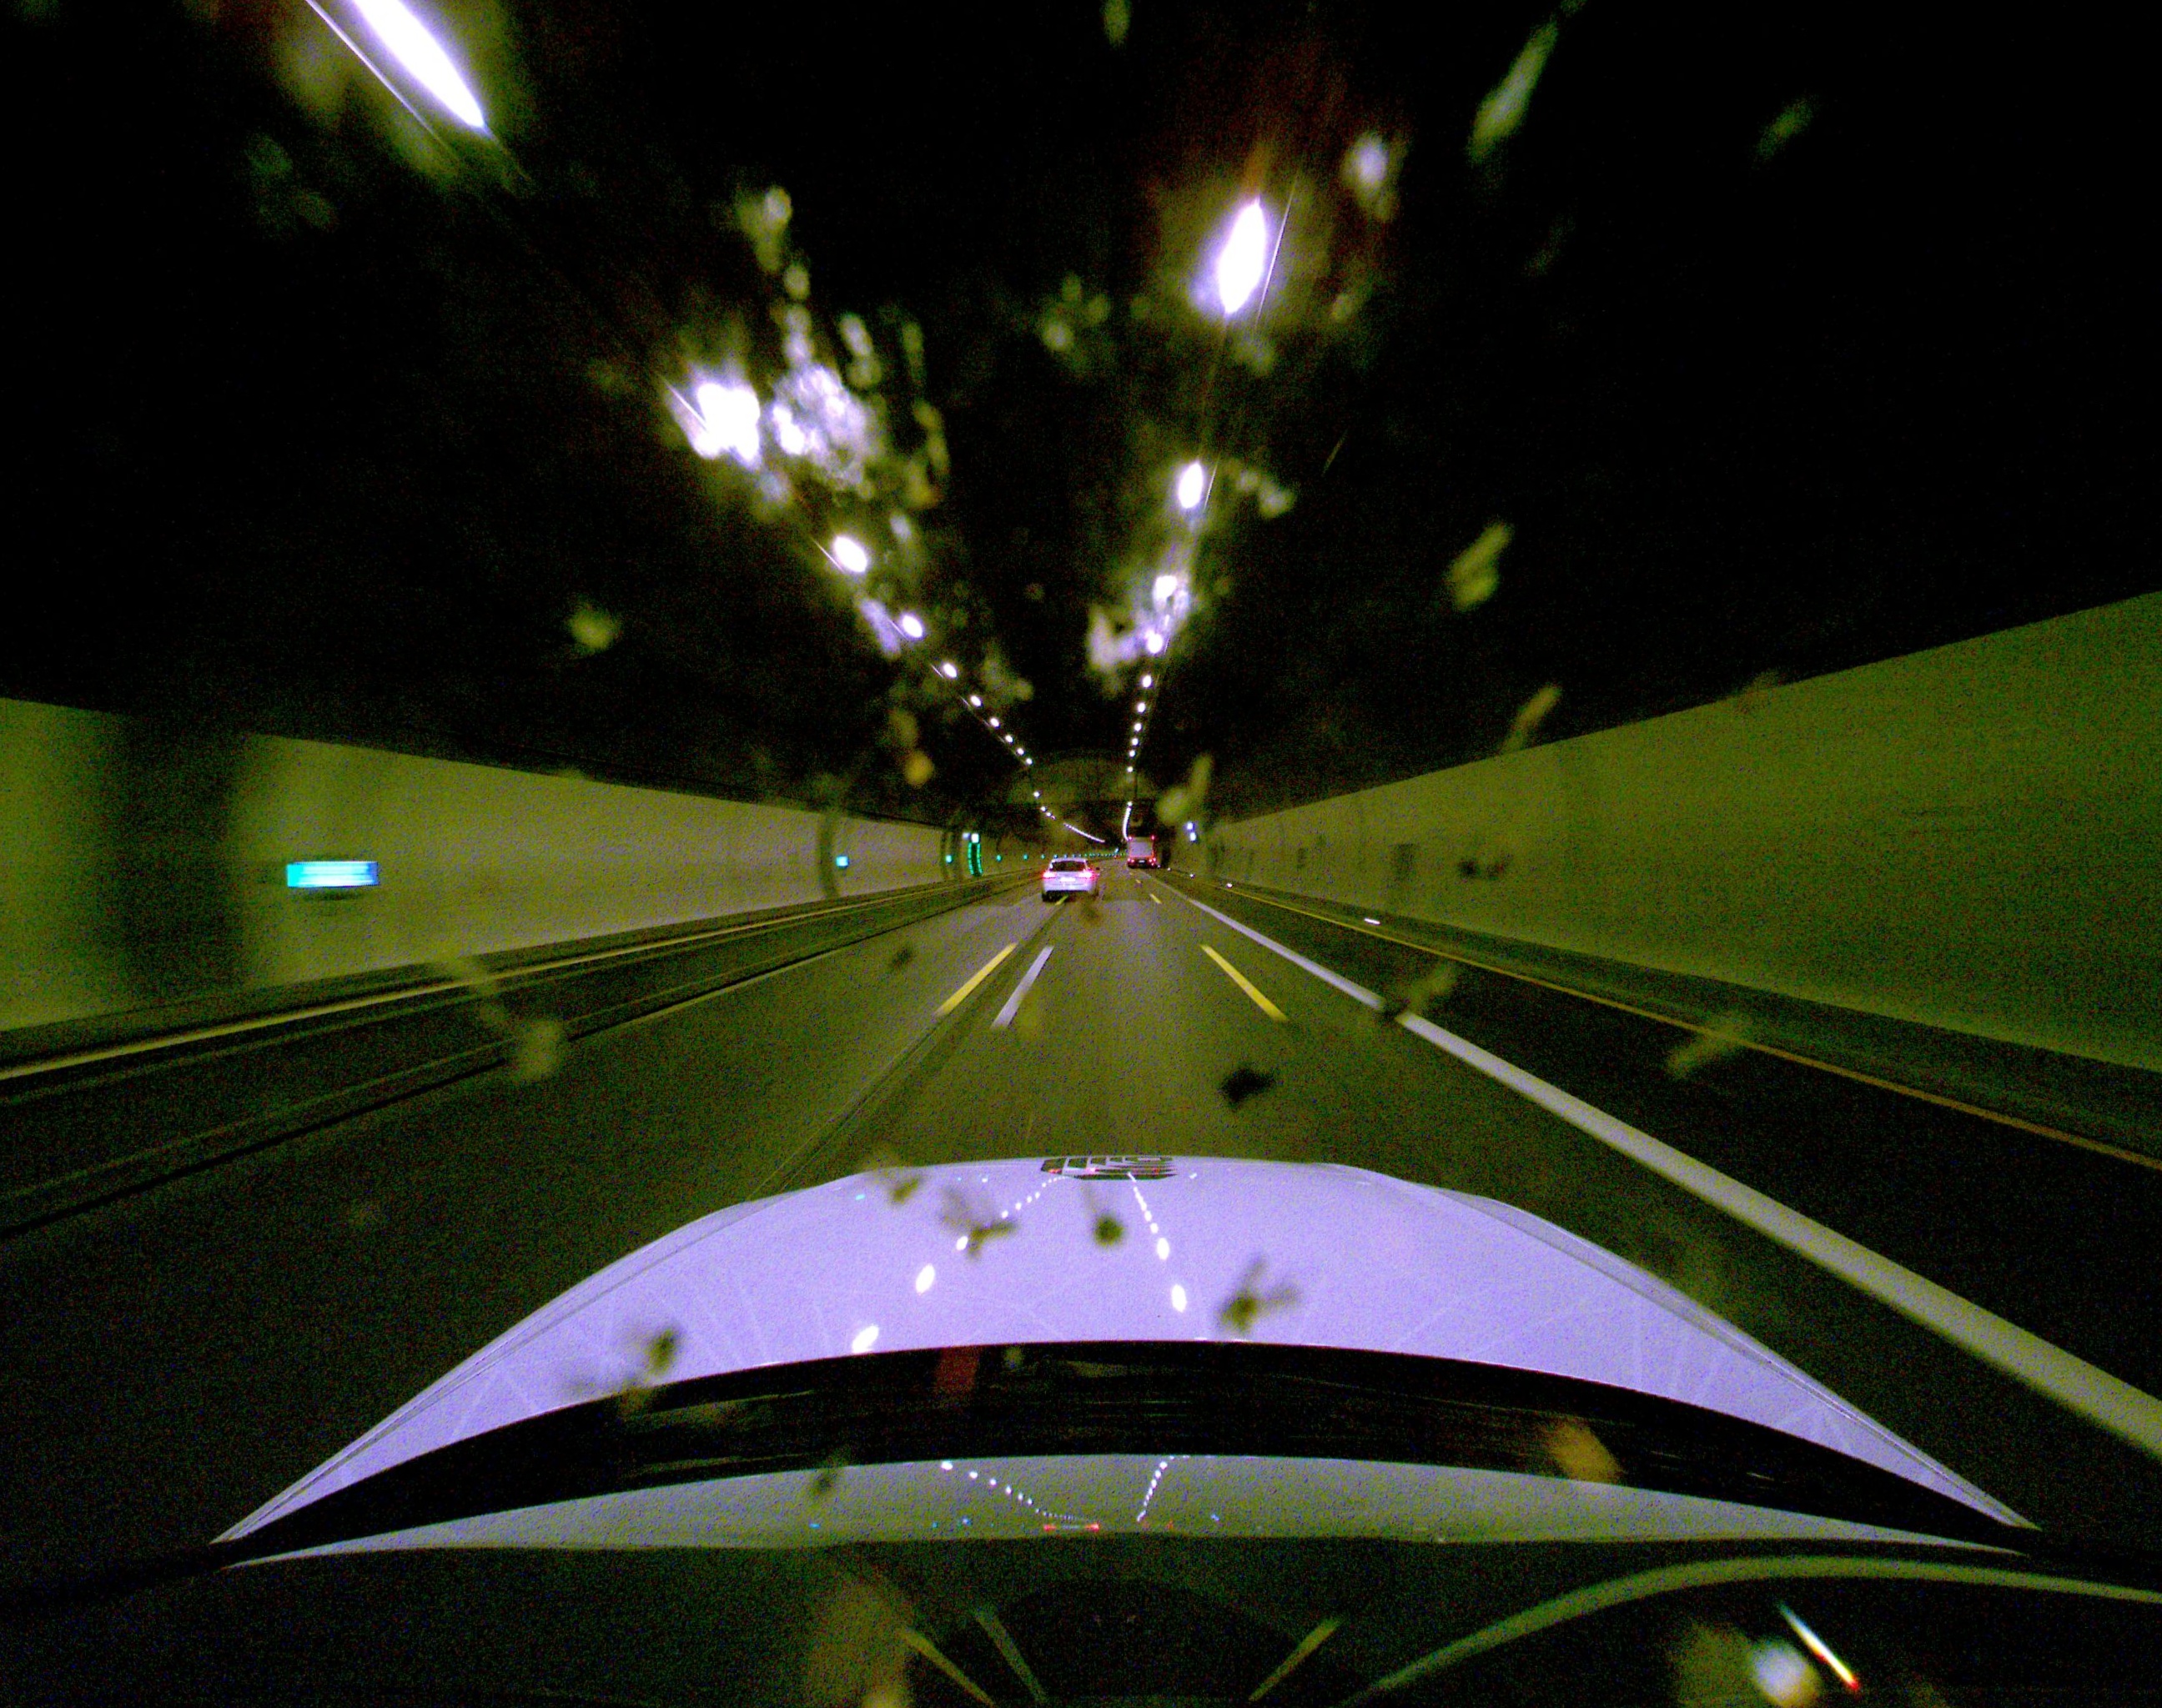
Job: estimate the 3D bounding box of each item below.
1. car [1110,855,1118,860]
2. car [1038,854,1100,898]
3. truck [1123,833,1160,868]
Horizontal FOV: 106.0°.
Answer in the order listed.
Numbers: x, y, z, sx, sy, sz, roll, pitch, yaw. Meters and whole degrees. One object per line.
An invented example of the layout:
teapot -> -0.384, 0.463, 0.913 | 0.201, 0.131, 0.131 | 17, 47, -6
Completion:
car -> 10.273, 1.126, 251.957 | 1.983, 1.519, 4.007 | 0, -1, 6
car -> -0.337, 0.725, 28.904 | 1.986, 1.413, 4.744 | -1, 0, 2
truck -> 6.714, -0.369, 91.945 | 3.579, 3.650, 10.726 | -1, 0, 2
